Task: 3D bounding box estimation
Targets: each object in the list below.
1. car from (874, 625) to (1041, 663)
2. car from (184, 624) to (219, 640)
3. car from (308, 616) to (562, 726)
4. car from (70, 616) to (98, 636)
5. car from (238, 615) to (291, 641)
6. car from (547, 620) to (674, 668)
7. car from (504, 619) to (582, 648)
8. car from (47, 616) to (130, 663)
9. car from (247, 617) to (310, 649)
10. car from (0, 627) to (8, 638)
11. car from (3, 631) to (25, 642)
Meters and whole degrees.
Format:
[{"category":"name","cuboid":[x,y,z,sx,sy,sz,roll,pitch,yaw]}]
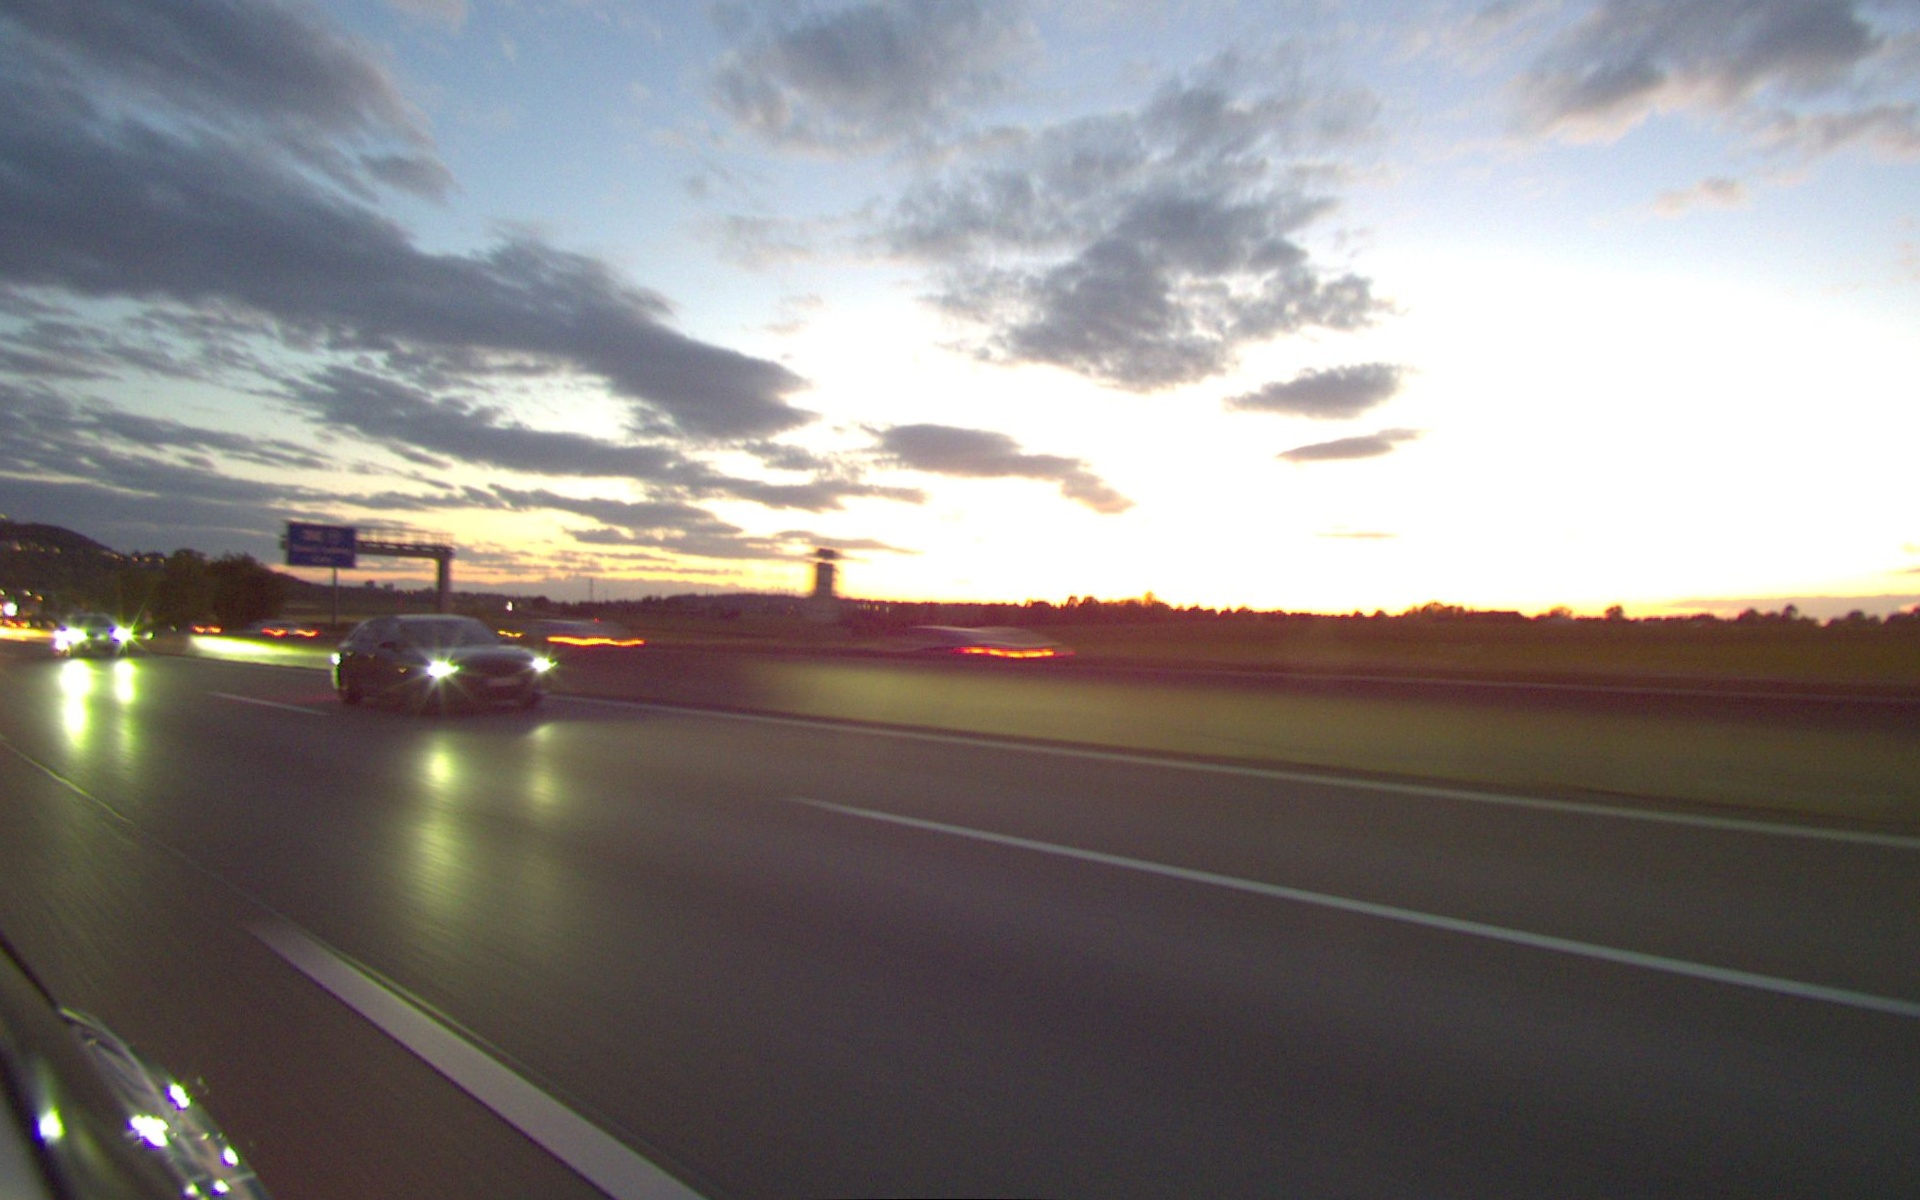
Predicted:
[{"category":"car","cuboid":[-0.147,1.044,24.931,4.414,0.800,1.229,-1,0,41]},{"category":"car","cuboid":[-68.158,2.879,90.916,4.550,1.329,1.717,-1,0,42]},{"category":"car","cuboid":[-8.554,0.998,16.223,5.392,1.448,1.795,-1,0,41]},{"category":"car","cuboid":[-114.133,3.358,131.837,5.834,2.405,1.972,-1,0,42]},{"category":"car","cuboid":[-44.101,1.744,64.148,4.885,1.534,1.642,-1,0,41]},{"category":"car","cuboid":[-9.974,1.207,28.760,3.998,1.227,1.648,-1,0,41]},{"category":"car","cuboid":[-18.674,1.467,45.275,3.998,1.189,1.648,-1,0,41]},{"category":"car","cuboid":[-33.980,1.484,39.419,4.854,1.660,1.795,-1,0,41]},{"category":"car","cuboid":[-33.823,1.594,50.167,3.998,1.464,1.627,-1,0,41]},{"category":"car","cuboid":[-131.181,4.428,137.903,3.899,1.380,1.714,-1,0,42]},{"category":"car","cuboid":[-139.611,5.349,149.348,4.657,1.423,1.972,-1,0,42]}]
